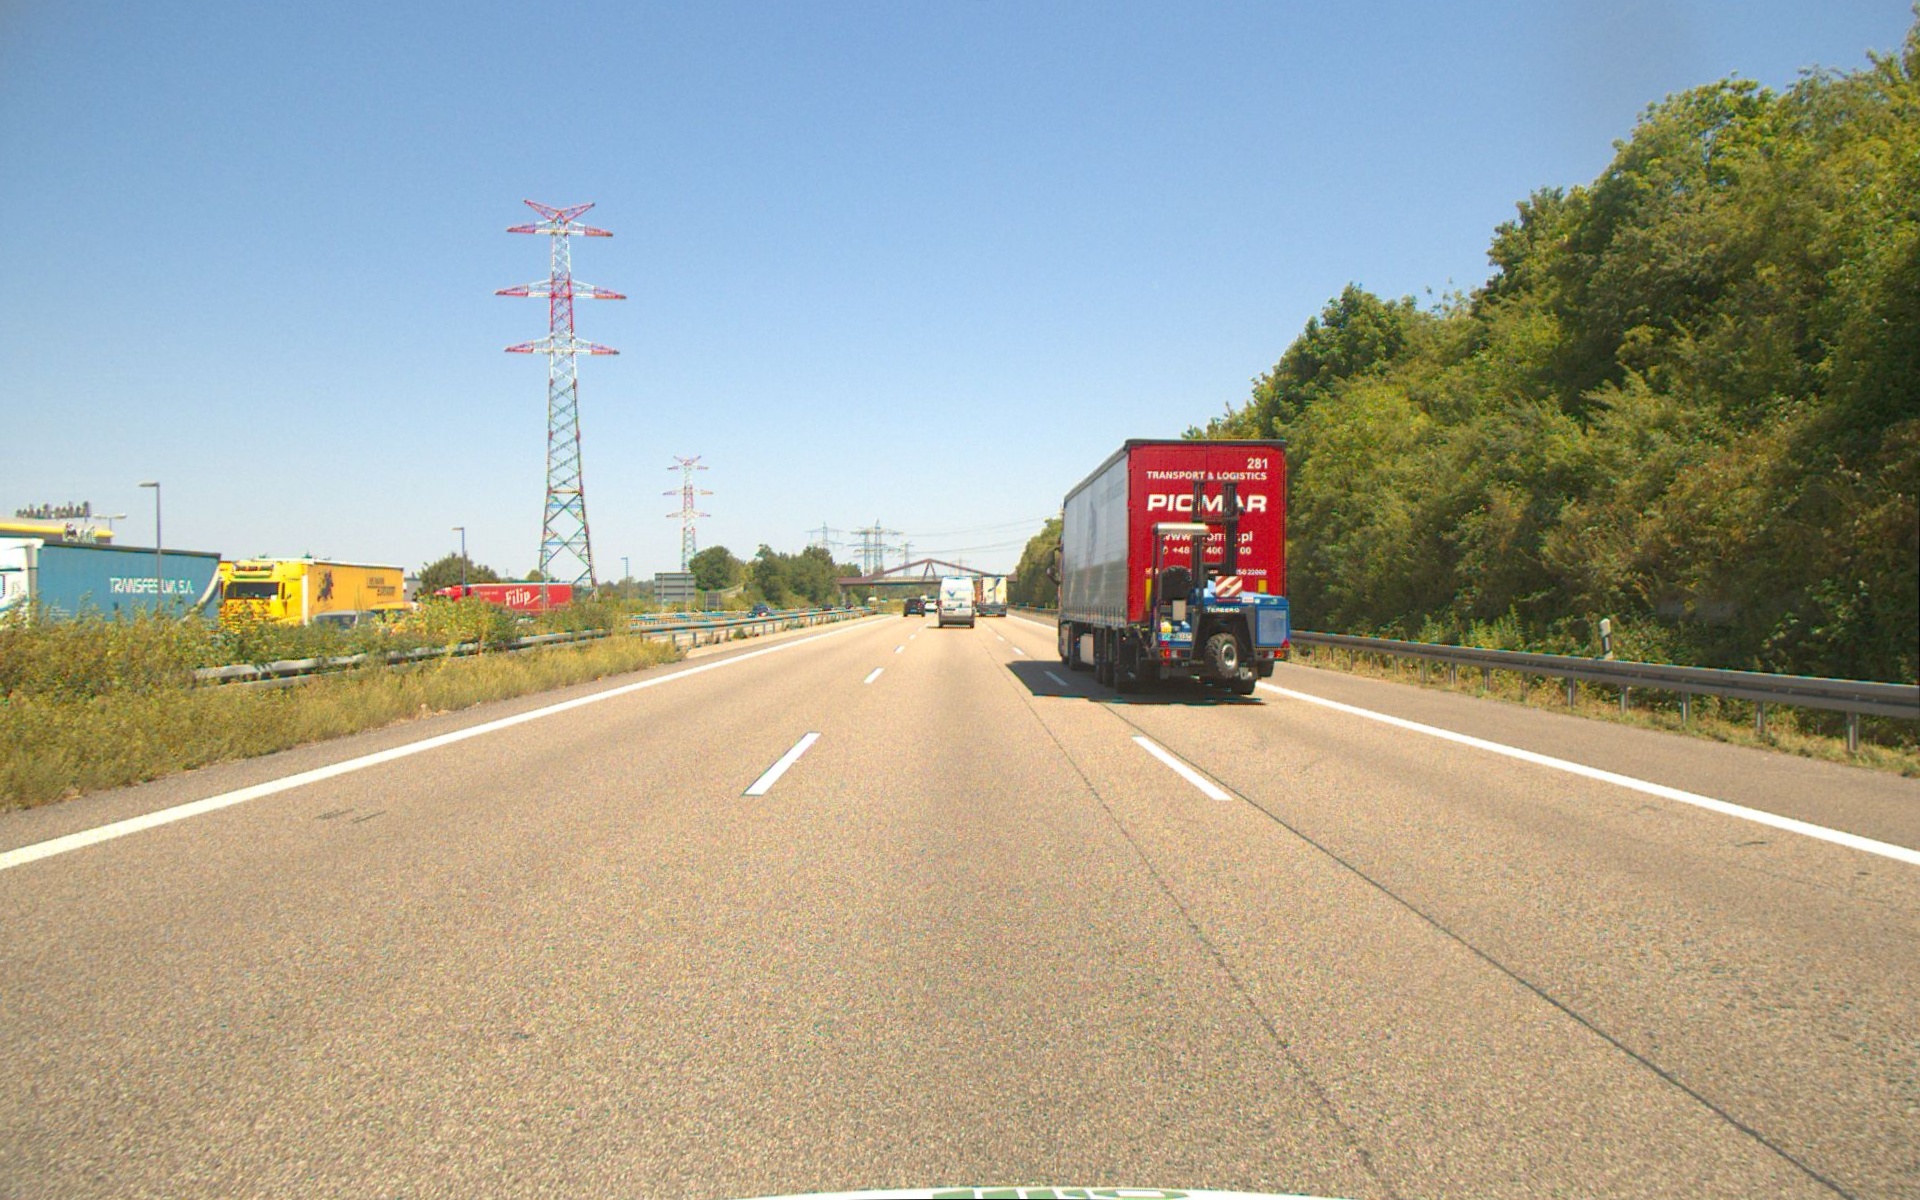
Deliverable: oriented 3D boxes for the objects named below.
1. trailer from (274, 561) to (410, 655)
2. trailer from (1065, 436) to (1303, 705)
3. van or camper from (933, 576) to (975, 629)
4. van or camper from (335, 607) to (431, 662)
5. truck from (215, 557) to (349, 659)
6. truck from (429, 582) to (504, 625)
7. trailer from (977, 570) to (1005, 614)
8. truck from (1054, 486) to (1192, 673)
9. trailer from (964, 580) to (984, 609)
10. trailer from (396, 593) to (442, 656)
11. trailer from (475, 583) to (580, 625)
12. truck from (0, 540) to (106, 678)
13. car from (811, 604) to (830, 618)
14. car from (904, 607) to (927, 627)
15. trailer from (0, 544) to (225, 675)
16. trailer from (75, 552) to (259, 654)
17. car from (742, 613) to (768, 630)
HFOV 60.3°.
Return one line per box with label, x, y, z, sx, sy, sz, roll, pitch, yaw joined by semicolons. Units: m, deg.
trailer;-30.537;0.362;82.361;2.776;4.293;11.080;1;0;-1
trailer;3.771;-0.419;31.618;2.439;3.978;14.243;0;0;-1
van or camper;-0.337;0.138;93.037;2.184;2.831;5.422;1;0;0
van or camper;-20.947;1.214;60.201;1.858;1.871;4.746;0;0;-1
truck;-30.357;0.364;74.427;2.776;4.274;7.916;1;0;-1
truck;-48.740;0.351;163.575;3.063;4.120;6.625;1;0;34
trailer;3.033;-0.761;166.081;2.583;4.131;12.366;1;0;1
truck;3.685;-0.427;38.909;2.448;3.988;7.095;0;0;-1
trailer;1.949;-0.710;230.934;2.583;3.965;7.068;1;0;1
trailer;-21.111;0.935;64.605;1.144;2.410;1.998;0;0;-1
trailer;-44.392;0.464;170.167;3.066;4.126;11.279;1;0;33
truck;-30.418;0.251;52.679;2.792;4.144;7.087;1;0;-1
car;-17.358;1.307;206.362;1.932;1.675;5.016;1;0;-1
car;-4.148;1.562;154.535;1.941;1.849;3.813;1;0;2
trailer;-30.580;0.316;59.793;2.776;4.221;12.080;1;0;-1
trailer;-35.414;0.137;74.500;2.775;4.221;11.083;1;0;1
car;-17.943;1.876;144.917;1.706;1.298;4.317;-3;0;0
